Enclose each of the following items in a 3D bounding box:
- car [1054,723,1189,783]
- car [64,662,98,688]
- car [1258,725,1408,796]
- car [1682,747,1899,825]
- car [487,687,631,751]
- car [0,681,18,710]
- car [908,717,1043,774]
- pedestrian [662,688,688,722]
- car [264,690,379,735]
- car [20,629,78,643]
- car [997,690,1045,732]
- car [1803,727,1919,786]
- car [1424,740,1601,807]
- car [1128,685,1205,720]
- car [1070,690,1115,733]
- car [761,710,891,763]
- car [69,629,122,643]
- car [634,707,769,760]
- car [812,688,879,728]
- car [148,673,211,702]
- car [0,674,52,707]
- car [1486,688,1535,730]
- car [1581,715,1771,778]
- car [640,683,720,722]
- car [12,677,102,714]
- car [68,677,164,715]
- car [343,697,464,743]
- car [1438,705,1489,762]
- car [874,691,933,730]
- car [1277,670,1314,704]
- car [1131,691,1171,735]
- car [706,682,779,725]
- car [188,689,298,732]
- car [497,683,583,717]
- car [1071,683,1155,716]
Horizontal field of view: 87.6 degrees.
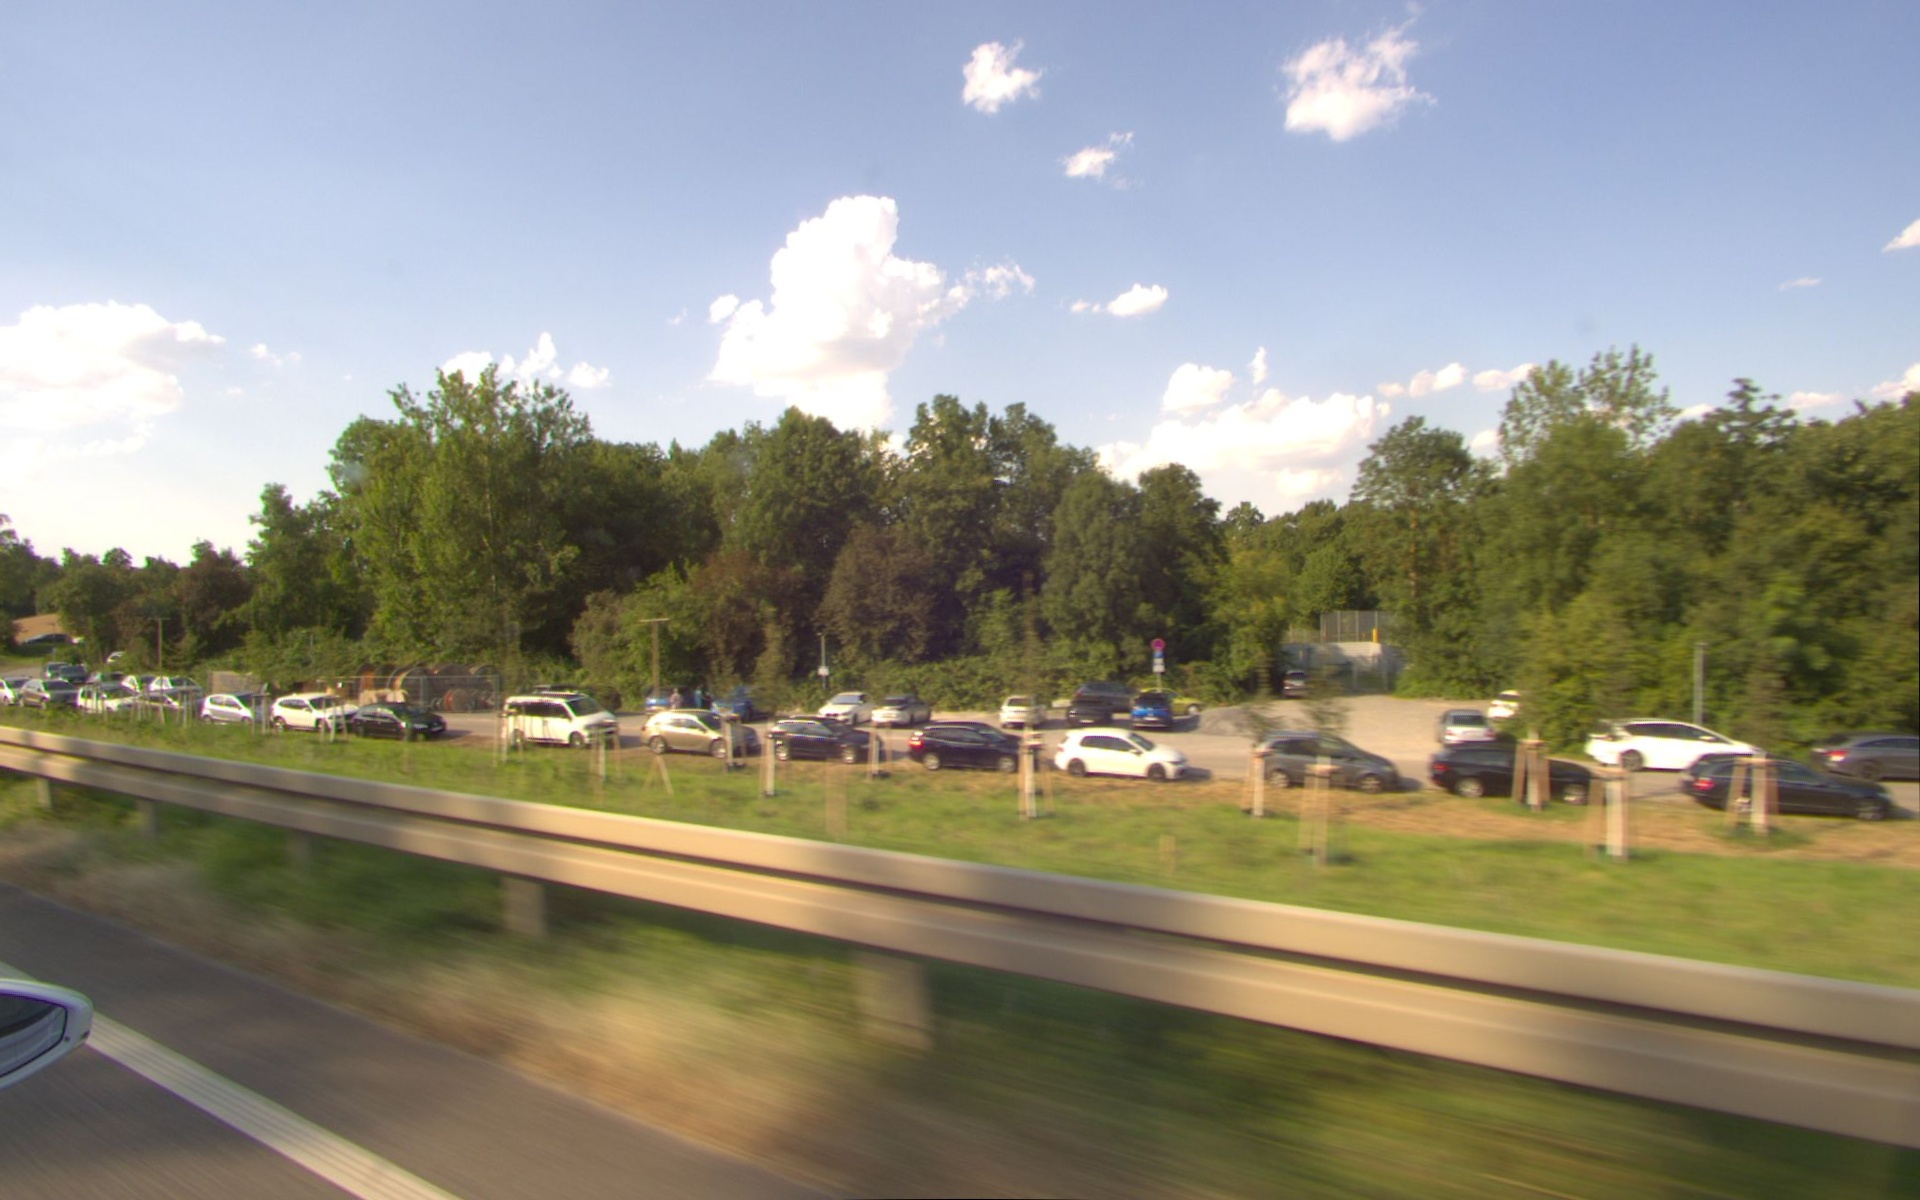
[{"bbox_3d":[5.311,4.964,32.824,4.178,1.502,1.821,0,1,16],"label":"car"},{"bbox_3d":[-62.294,5.296,70.943,1.688,1.418,4.741,-3,2,-42],"label":"car"},{"bbox_3d":[11.419,4.905,30.932,4.178,1.681,1.821,0,1,16],"label":"car"},{"bbox_3d":[22.093,4.933,26.845,4.151,1.516,1.655,0,0,23],"label":"car"},{"bbox_3d":[-16.117,4.736,40.278,5.284,2.046,2.120,0,3,20],"label":"car"},{"bbox_3d":[-59.664,5.807,60.941,4.707,1.581,1.889,1,3,28],"label":"car"},{"bbox_3d":[0.563,4.951,34.387,4.314,1.502,1.821,0,1,16],"label":"car"},{"bbox_3d":[-13.690,5.036,48.106,0.910,1.491,0.882,-2,3,-36],"label":"pedestrian"},{"bbox_3d":[-29.160,5.118,45.764,4.698,1.581,1.893,0,3,20],"label":"car"},{"bbox_3d":[-102.992,4.102,113.273,1.961,1.526,4.645,0,-2,8],"label":"car"},{"bbox_3d":[2.820,5.008,45.572,1.701,1.475,4.414,0,-1,10],"label":"car"},{"bbox_3d":[28.283,4.684,30.083,4.148,1.516,1.657,-2,-1,18],"label":"car"},{"bbox_3d":[15.935,4.984,29.118,4.178,1.420,1.821,0,1,16],"label":"car"},{"bbox_3d":[10.057,5.006,48.951,3.605,1.475,1.498,0,1,8],"label":"car"},{"bbox_3d":[6.000,4.986,45.116,1.587,1.475,4.244,0,-1,13],"label":"car"},{"bbox_3d":[-4.830,4.931,36.358,4.314,1.502,1.821,0,1,16],"label":"car"},{"bbox_3d":[-102.294,4.251,118.550,1.961,1.526,4.645,0,-2,8],"label":"car"},{"bbox_3d":[-9.827,5.033,38.087,4.698,1.503,1.893,0,3,20],"label":"car"},{"bbox_3d":[-5.305,5.015,46.851,1.739,1.517,4.245,0,-2,14],"label":"car"},{"bbox_3d":[-47.496,5.315,60.947,3.886,1.530,1.699,-1,0,30],"label":"car"},{"bbox_3d":[-55.366,5.259,58.540,4.707,1.579,1.891,1,-1,28],"label":"car"},{"bbox_3d":[25.144,4.925,45.831,1.685,1.475,4.233,0,0,25],"label":"car"},{"bbox_3d":[22.846,4.654,32.155,4.627,1.688,1.656,-2,-1,21],"label":"car"},{"bbox_3d":[-14.062,5.124,50.488,1.801,1.625,4.241,-1,-2,19],"label":"car"},{"bbox_3d":[-50.405,5.302,55.893,4.701,1.581,1.891,0,3,23],"label":"car"},{"bbox_3d":[-44.977,5.099,53.356,4.701,1.581,1.891,0,3,23],"label":"car"},{"bbox_3d":[-23.979,5.149,43.152,4.698,1.503,1.893,0,3,20],"label":"car"},{"bbox_3d":[18.665,4.887,37.194,1.591,1.475,4.231,0,1,26],"label":"car"},{"bbox_3d":[-2.549,5.046,46.163,1.587,1.474,4.245,0,-2,13],"label":"car"},{"bbox_3d":[19.457,5.008,58.211,1.587,1.476,4.240,0,2,13],"label":"car"},{"bbox_3d":[8.587,4.999,44.724,1.587,1.475,4.243,0,0,13],"label":"car"},{"bbox_3d":[-10.619,5.035,49.195,1.799,1.764,4.244,0,-2,14],"label":"car"},{"bbox_3d":[-34.353,5.271,47.963,4.698,1.581,1.893,0,3,20],"label":"car"},{"bbox_3d":[-22.012,5.224,52.667,1.801,1.508,4.240,0,-2,20],"label":"car"},{"bbox_3d":[7.754,5.044,50.991,4.165,1.475,1.616,0,1,8],"label":"car"}]
